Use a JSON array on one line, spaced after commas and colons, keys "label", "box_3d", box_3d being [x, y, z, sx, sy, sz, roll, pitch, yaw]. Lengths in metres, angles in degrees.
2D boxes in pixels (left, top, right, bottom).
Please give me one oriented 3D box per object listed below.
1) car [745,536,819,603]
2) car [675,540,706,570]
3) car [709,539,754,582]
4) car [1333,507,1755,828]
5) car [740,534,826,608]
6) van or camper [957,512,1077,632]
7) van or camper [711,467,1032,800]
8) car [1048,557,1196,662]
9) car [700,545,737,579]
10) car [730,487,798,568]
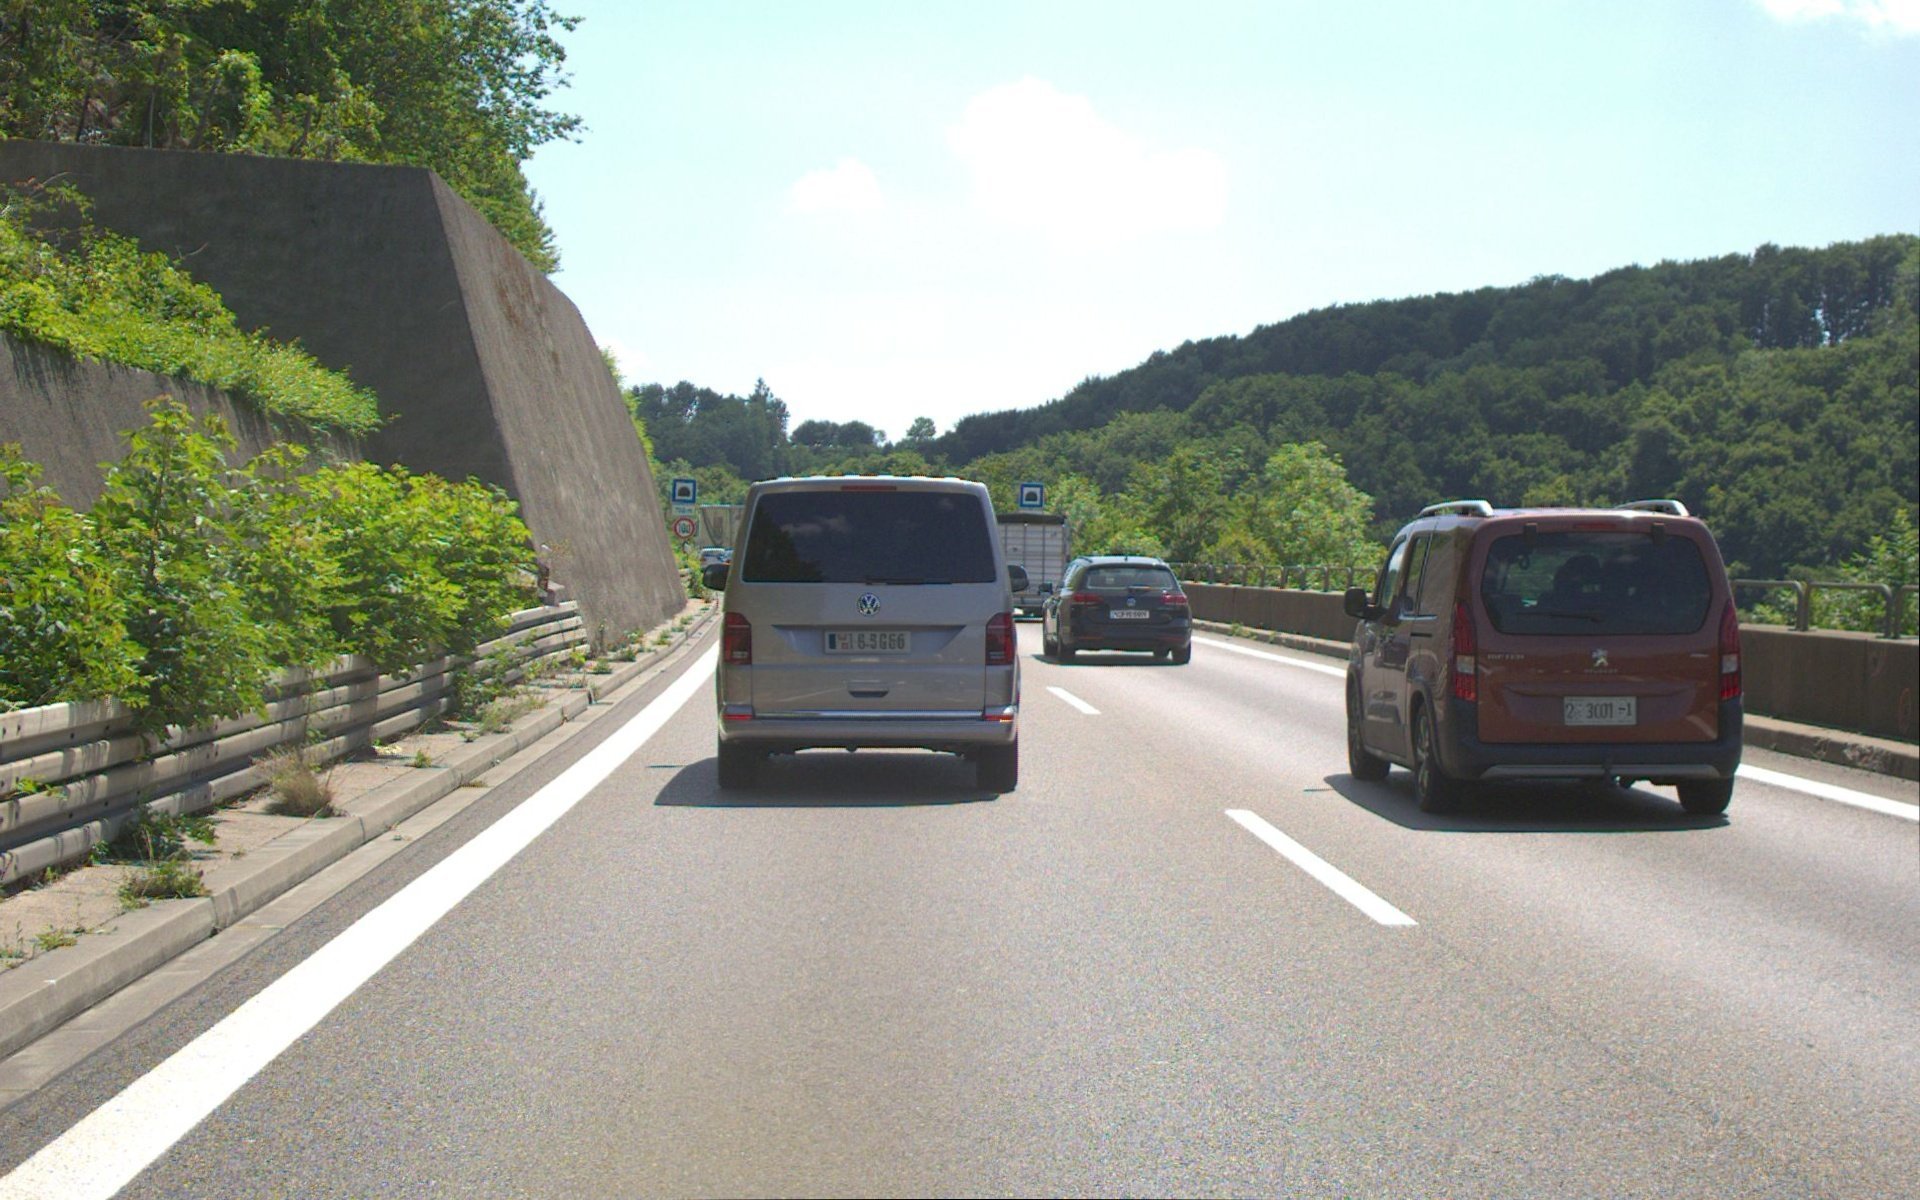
[{"label": "car", "box_3d": [-5.276, -0.917, 102.272, 1.993, 1.908, 4.000, 1, 1, 0]}, {"label": "car", "box_3d": [-16.132, -2.698, 205.471, 1.845, 1.744, 4.001, 0, 1, -5]}, {"label": "car", "box_3d": [-10.931, -1.903, 164.840, 1.993, 2.007, 4.000, -1, 0, -2]}, {"label": "car", "box_3d": [3.500, 0.362, 21.448, 1.833, 1.778, 4.676, 0, 0, 0]}, {"label": "car", "box_3d": [-4.496, -0.750, 86.683, 1.993, 1.811, 4.001, 1, 1, -5]}, {"label": "van or camper", "box_3d": [1.225, -0.625, 76.165, 2.263, 2.542, 4.737, -1, 1, -3]}, {"label": "van or camper", "box_3d": [-0.601, 0.174, 22.529, 1.875, 1.943, 4.294, -1, 1, -2]}, {"label": "car", "box_3d": [2.192, 0.099, 47.313, 1.768, 1.371, 3.593, 0, 1, -2]}, {"label": "car", "box_3d": [-12.880, -2.039, 183.296, 1.845, 1.744, 4.001, 0, 1, -2]}, {"label": "car", "box_3d": [-12.098, -4.411, 211.324, 4.043, 4.855, 10.111, 0, 1, -4]}]
